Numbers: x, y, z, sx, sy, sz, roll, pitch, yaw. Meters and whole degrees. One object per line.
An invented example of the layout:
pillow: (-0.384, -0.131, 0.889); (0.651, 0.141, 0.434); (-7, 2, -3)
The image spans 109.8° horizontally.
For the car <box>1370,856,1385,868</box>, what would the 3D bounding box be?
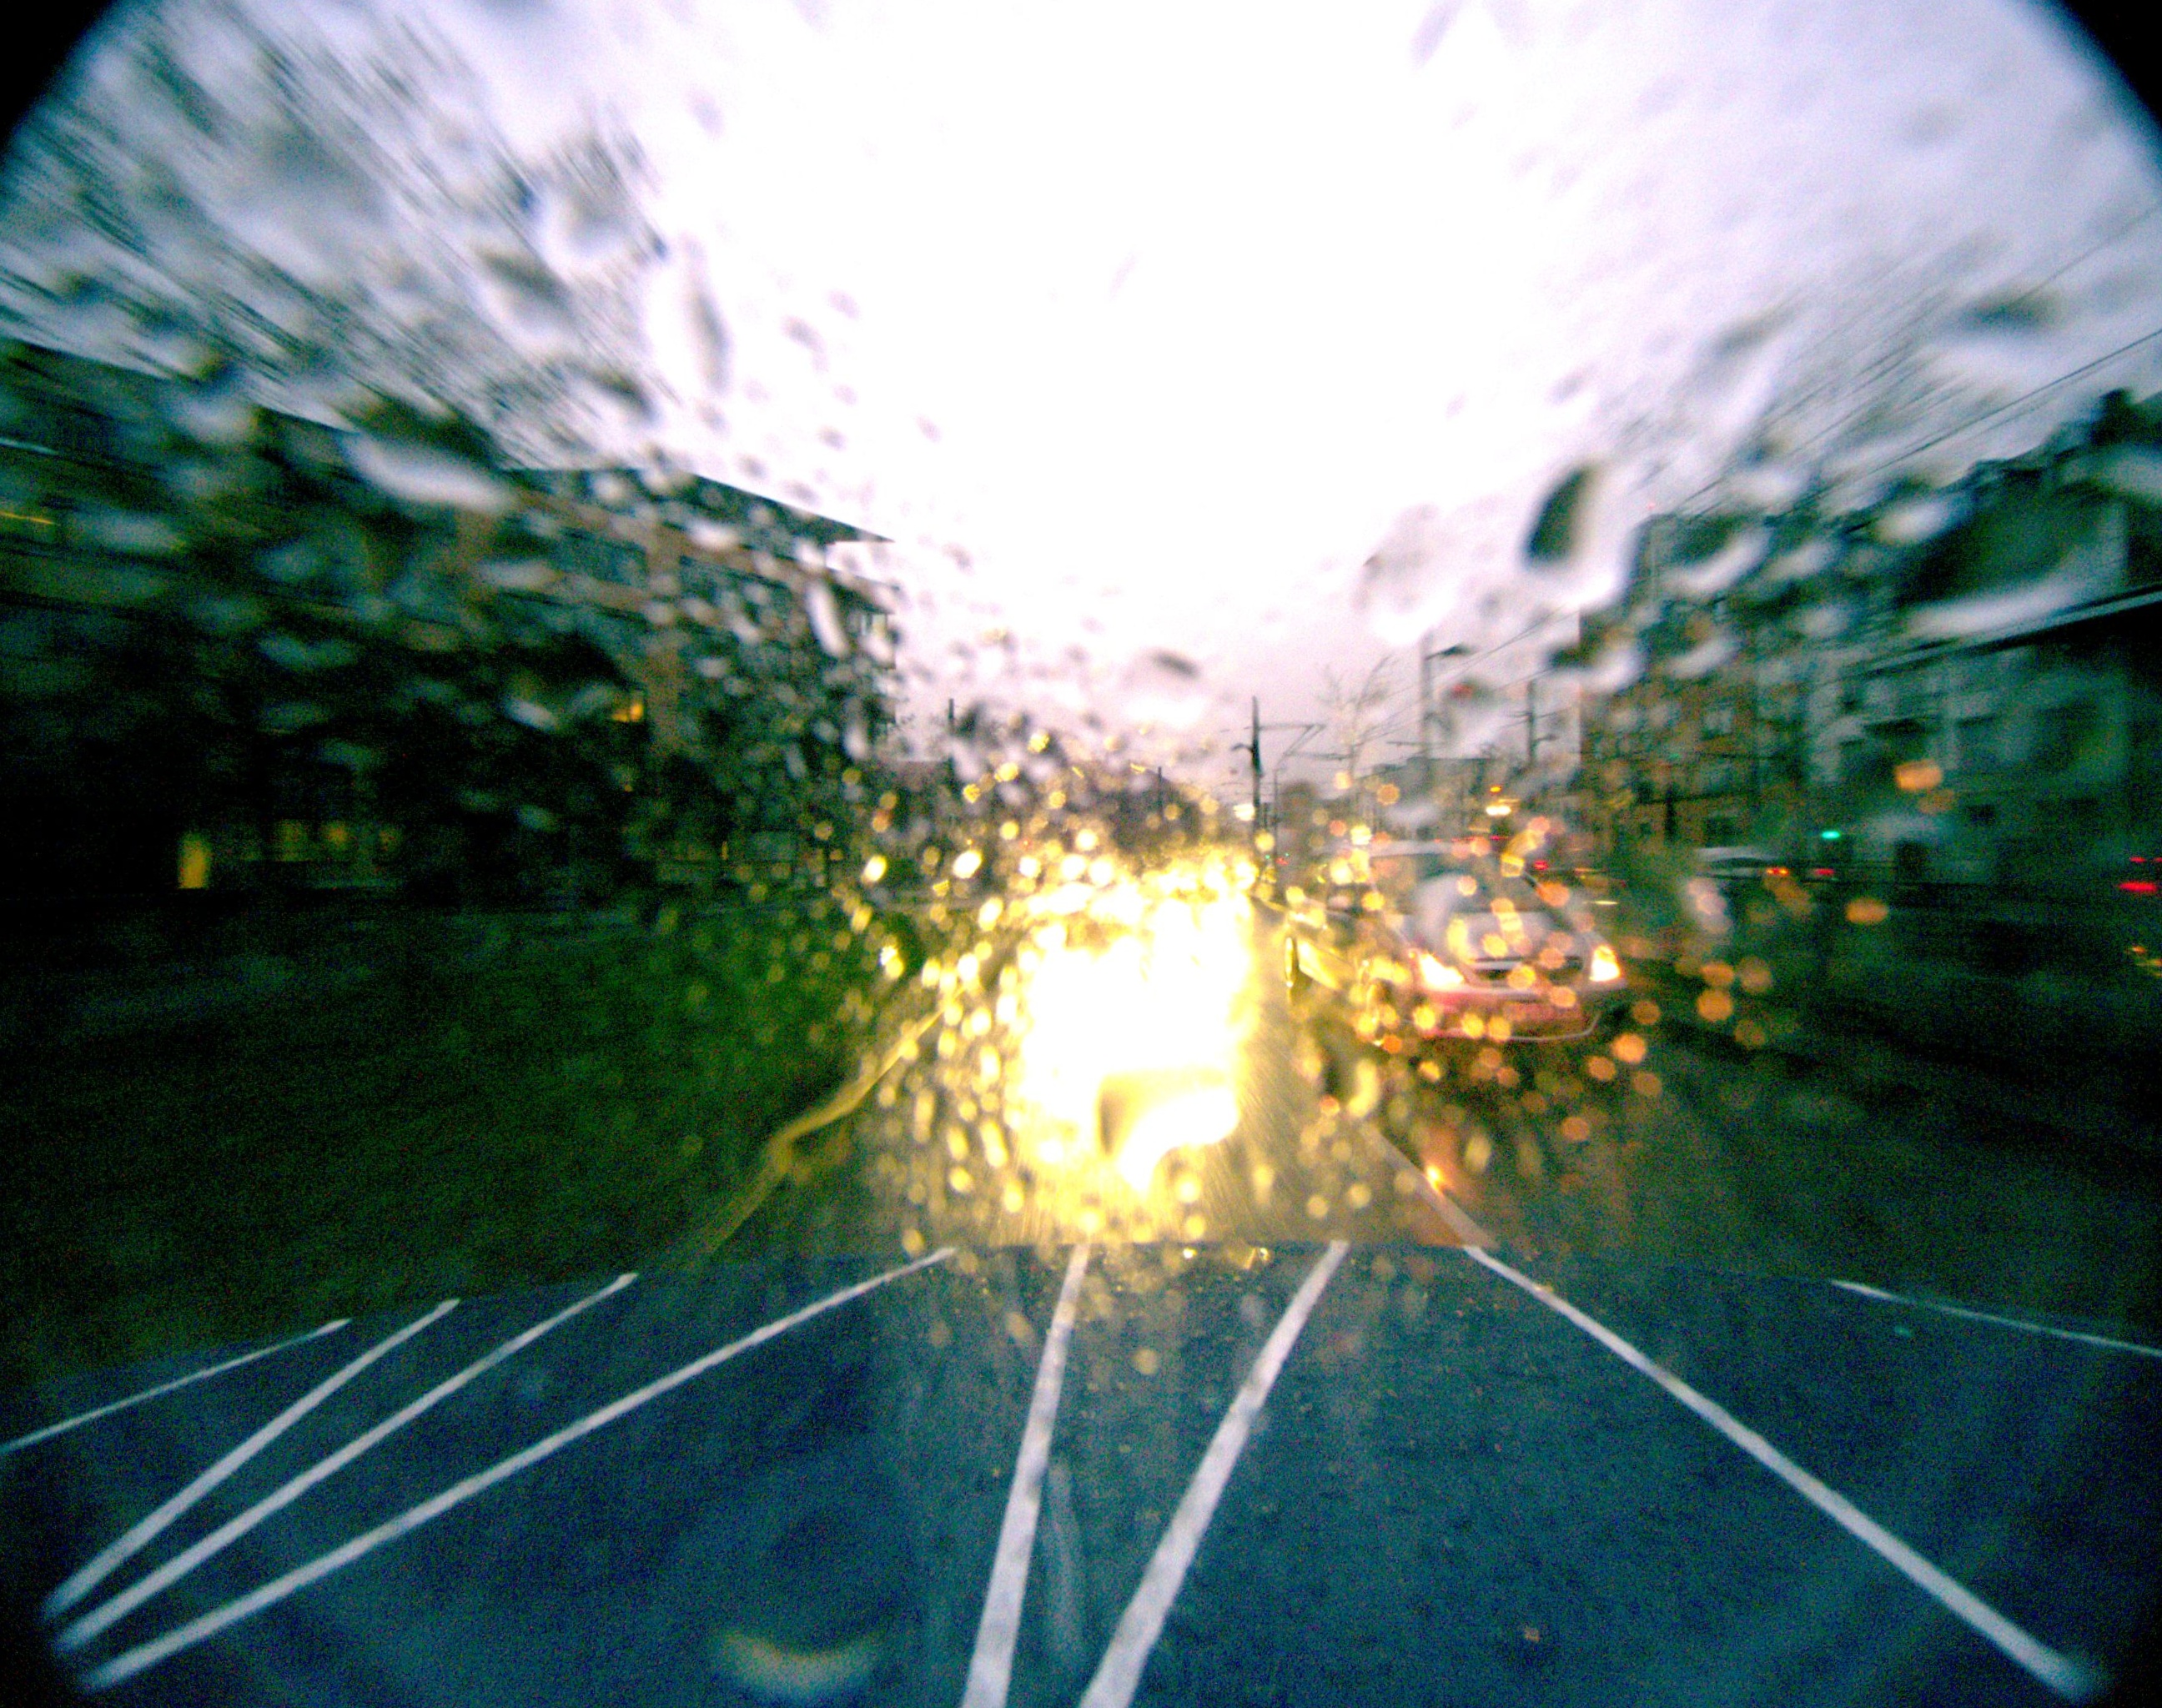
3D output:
car: (36.835, 0.998, 94.343); (1.489, 1.478, 3.157); (0, 0, 16)

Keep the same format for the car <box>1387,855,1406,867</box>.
car: (39.224, 0.874, 94.494); (1.682, 1.384, 3.618); (0, 0, 14)

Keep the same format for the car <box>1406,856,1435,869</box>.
car: (35.975, 0.877, 80.576); (1.683, 1.346, 4.391); (0, 0, 9)

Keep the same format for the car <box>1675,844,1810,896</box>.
car: (26.184, 0.620, 30.292); (1.998, 1.929, 3.943); (0, 0, 1)

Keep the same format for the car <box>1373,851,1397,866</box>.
car: (32.312, 0.439, 80.763); (1.682, 1.544, 4.126); (0, 0, 12)

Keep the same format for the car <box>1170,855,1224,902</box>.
car: (4.128, 0.829, 27.479); (1.752, 1.535, 4.002); (0, 0, 7)

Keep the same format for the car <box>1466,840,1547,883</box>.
car: (24.002, 0.413, 43.144); (1.998, 2.296, 5.268); (0, 0, 4)

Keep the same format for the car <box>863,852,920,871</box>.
car: (-16.749, 0.631, 67.331); (4.510, 1.660, 2.000); (0, 0, -3)

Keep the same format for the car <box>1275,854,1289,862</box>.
car: (38.584, 0.690, 145.909); (1.648, 1.441, 3.851); (-1, 0, 0)

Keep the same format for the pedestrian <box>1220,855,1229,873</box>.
pedestrian: (15.376, 1.089, 81.252); (0.572, 1.828, 0.684); (6, 1, 27)

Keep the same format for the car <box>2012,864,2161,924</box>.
car: (26.440, 0.964, 18.853); (1.816, 1.390, 4.000); (0, 0, 1)

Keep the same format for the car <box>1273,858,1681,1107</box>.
car: (2.983, 0.819, 6.800); (1.649, 1.539, 4.110); (-1, 0, 2)

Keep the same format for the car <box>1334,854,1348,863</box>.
car: (45.306, 0.800, 132.276); (1.996, 1.635, 4.005); (1, 0, 15)

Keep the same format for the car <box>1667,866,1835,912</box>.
car: (20.144, 0.989, 23.102); (1.540, 1.238, 4.087); (0, 0, 0)

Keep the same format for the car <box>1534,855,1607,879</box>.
car: (26.745, 0.699, 41.659); (1.540, 1.219, 4.088); (0, 0, 4)

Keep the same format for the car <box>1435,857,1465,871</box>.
car: (32.669, 0.879, 67.373); (1.602, 1.127, 3.793); (0, 0, 13)

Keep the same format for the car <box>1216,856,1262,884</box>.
car: (10.356, 1.022, 49.651); (1.816, 1.732, 4.194); (0, 0, 28)

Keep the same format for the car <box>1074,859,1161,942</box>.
car: (0.704, 0.918, 16.851); (1.649, 1.575, 3.804); (-1, 0, -1)

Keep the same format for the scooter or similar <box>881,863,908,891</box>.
scooter or similar: (-8.324, 1.036, 33.848); (1.146, 1.224, 0.487); (0, 0, -15)

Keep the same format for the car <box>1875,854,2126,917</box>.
car: (19.578, 0.624, 16.395); (1.540, 1.201, 3.194); (1, 0, 0)
